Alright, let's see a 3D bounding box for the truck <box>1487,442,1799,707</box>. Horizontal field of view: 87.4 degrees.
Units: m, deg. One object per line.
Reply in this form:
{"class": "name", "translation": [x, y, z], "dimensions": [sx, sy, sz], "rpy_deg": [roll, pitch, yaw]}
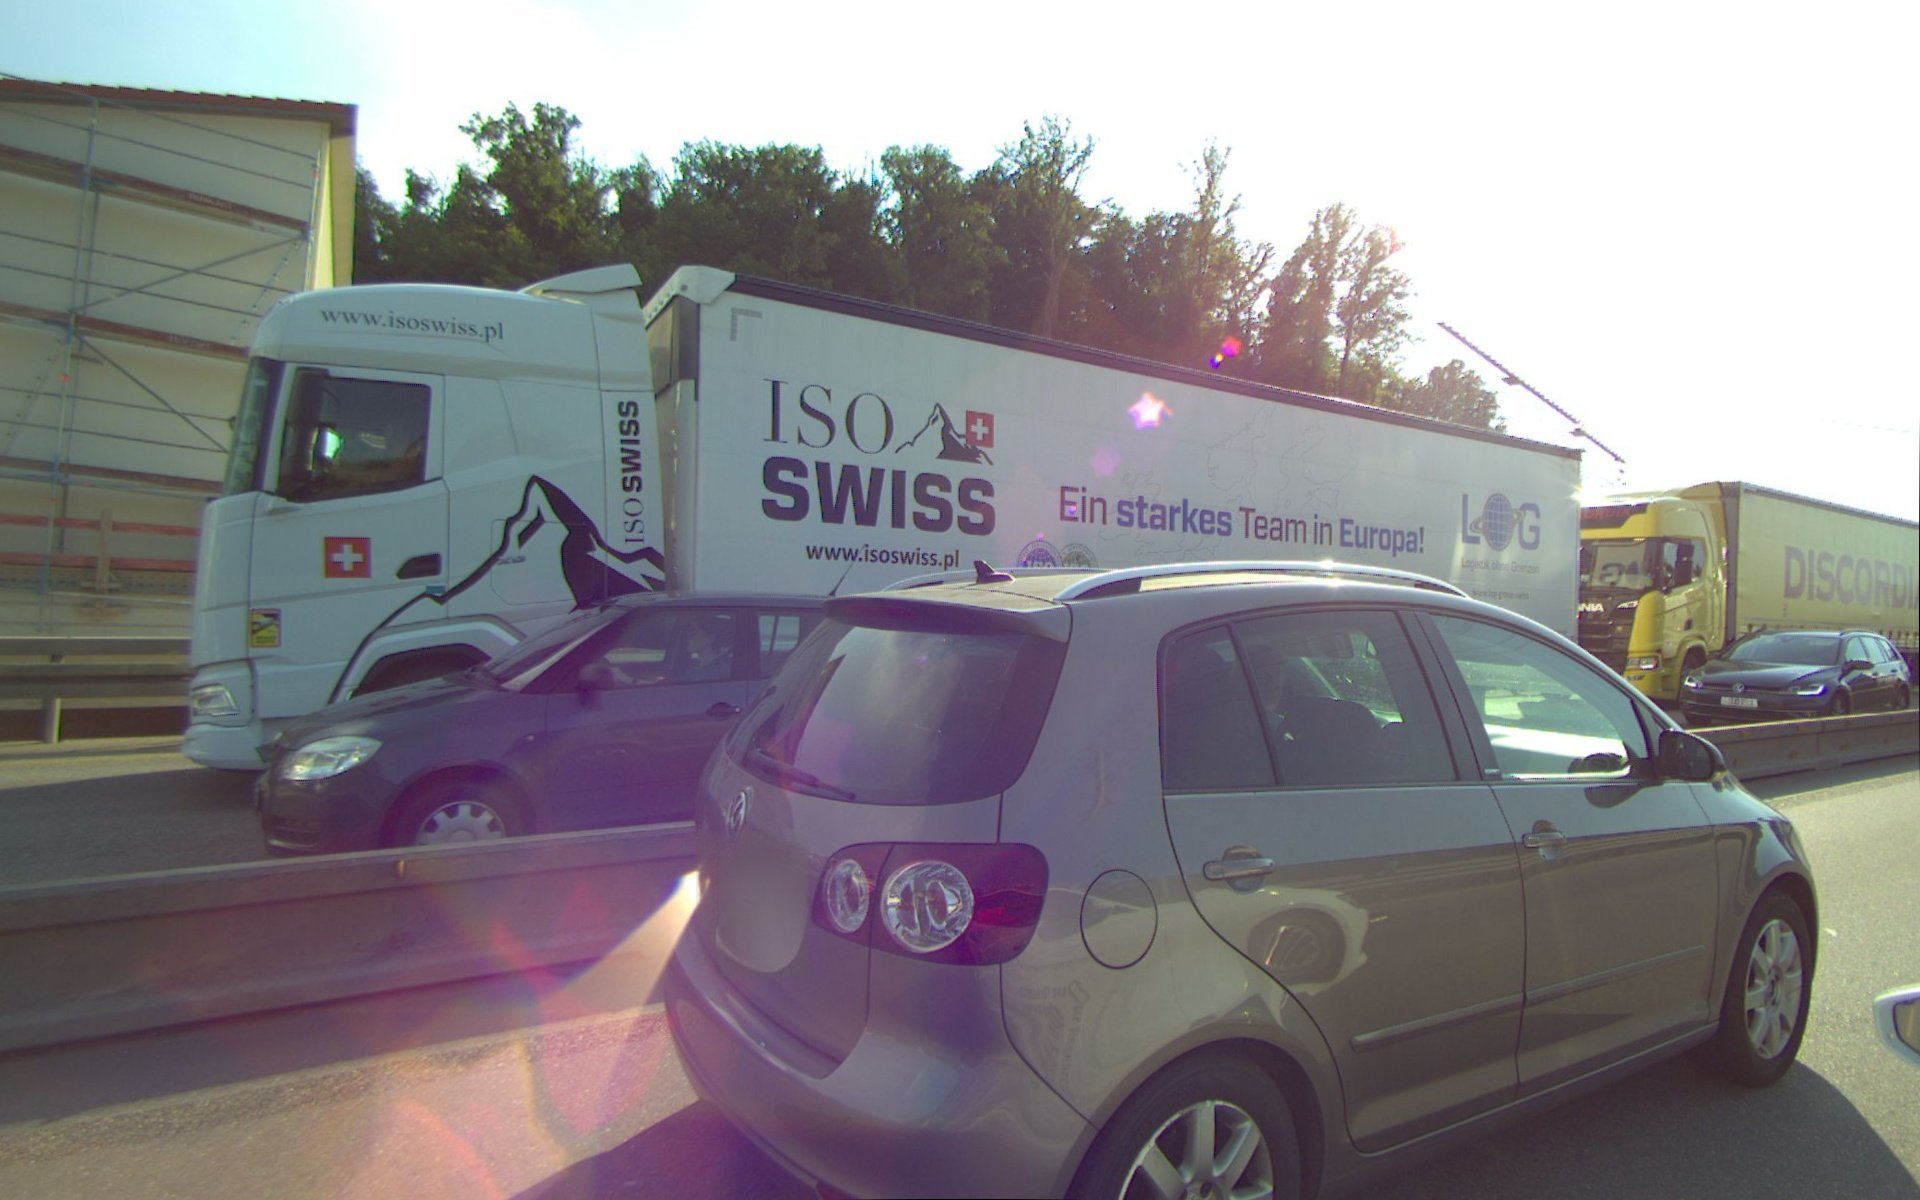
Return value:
{"class": "truck", "translation": [13.085, -0.280, 19.157], "dimensions": [5.710, 4.327, 2.877], "rpy_deg": [3, -2, -33]}

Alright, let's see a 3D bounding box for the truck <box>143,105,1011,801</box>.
{"class": "truck", "translation": [-2.876, -0.766, 8.885], "dimensions": [6.250, 4.327, 2.432], "rpy_deg": [3, -2, -31]}

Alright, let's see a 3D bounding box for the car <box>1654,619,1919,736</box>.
{"class": "car", "translation": [12.250, 1.112, 14.734], "dimensions": [4.484, 1.468, 1.745], "rpy_deg": [3, -2, -32]}

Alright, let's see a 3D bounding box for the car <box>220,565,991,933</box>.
{"class": "car", "translation": [-1.864, 0.659, 5.886], "dimensions": [3.804, 1.526, 1.661], "rpy_deg": [1, -1, -32]}

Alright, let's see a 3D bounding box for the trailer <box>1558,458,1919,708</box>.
{"class": "trailer", "translation": [18.841, 0.045, 22.901], "dimensions": [14.226, 4.451, 2.877], "rpy_deg": [3, -2, -33]}

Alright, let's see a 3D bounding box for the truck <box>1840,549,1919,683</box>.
{"class": "truck", "translation": [28.620, 0.612, 29.294], "dimensions": [7.613, 3.577, 2.346], "rpy_deg": [3, -2, -32]}

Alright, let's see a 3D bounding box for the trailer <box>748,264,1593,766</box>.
{"class": "trailer", "translation": [3.563, -0.444, 12.796], "dimensions": [12.008, 4.321, 2.441], "rpy_deg": [3, -2, -31]}

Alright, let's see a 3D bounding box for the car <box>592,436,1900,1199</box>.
{"class": "car", "translation": [1.157, 0.674, 3.215], "dimensions": [4.101, 1.608, 1.692], "rpy_deg": [3, -2, -32]}
